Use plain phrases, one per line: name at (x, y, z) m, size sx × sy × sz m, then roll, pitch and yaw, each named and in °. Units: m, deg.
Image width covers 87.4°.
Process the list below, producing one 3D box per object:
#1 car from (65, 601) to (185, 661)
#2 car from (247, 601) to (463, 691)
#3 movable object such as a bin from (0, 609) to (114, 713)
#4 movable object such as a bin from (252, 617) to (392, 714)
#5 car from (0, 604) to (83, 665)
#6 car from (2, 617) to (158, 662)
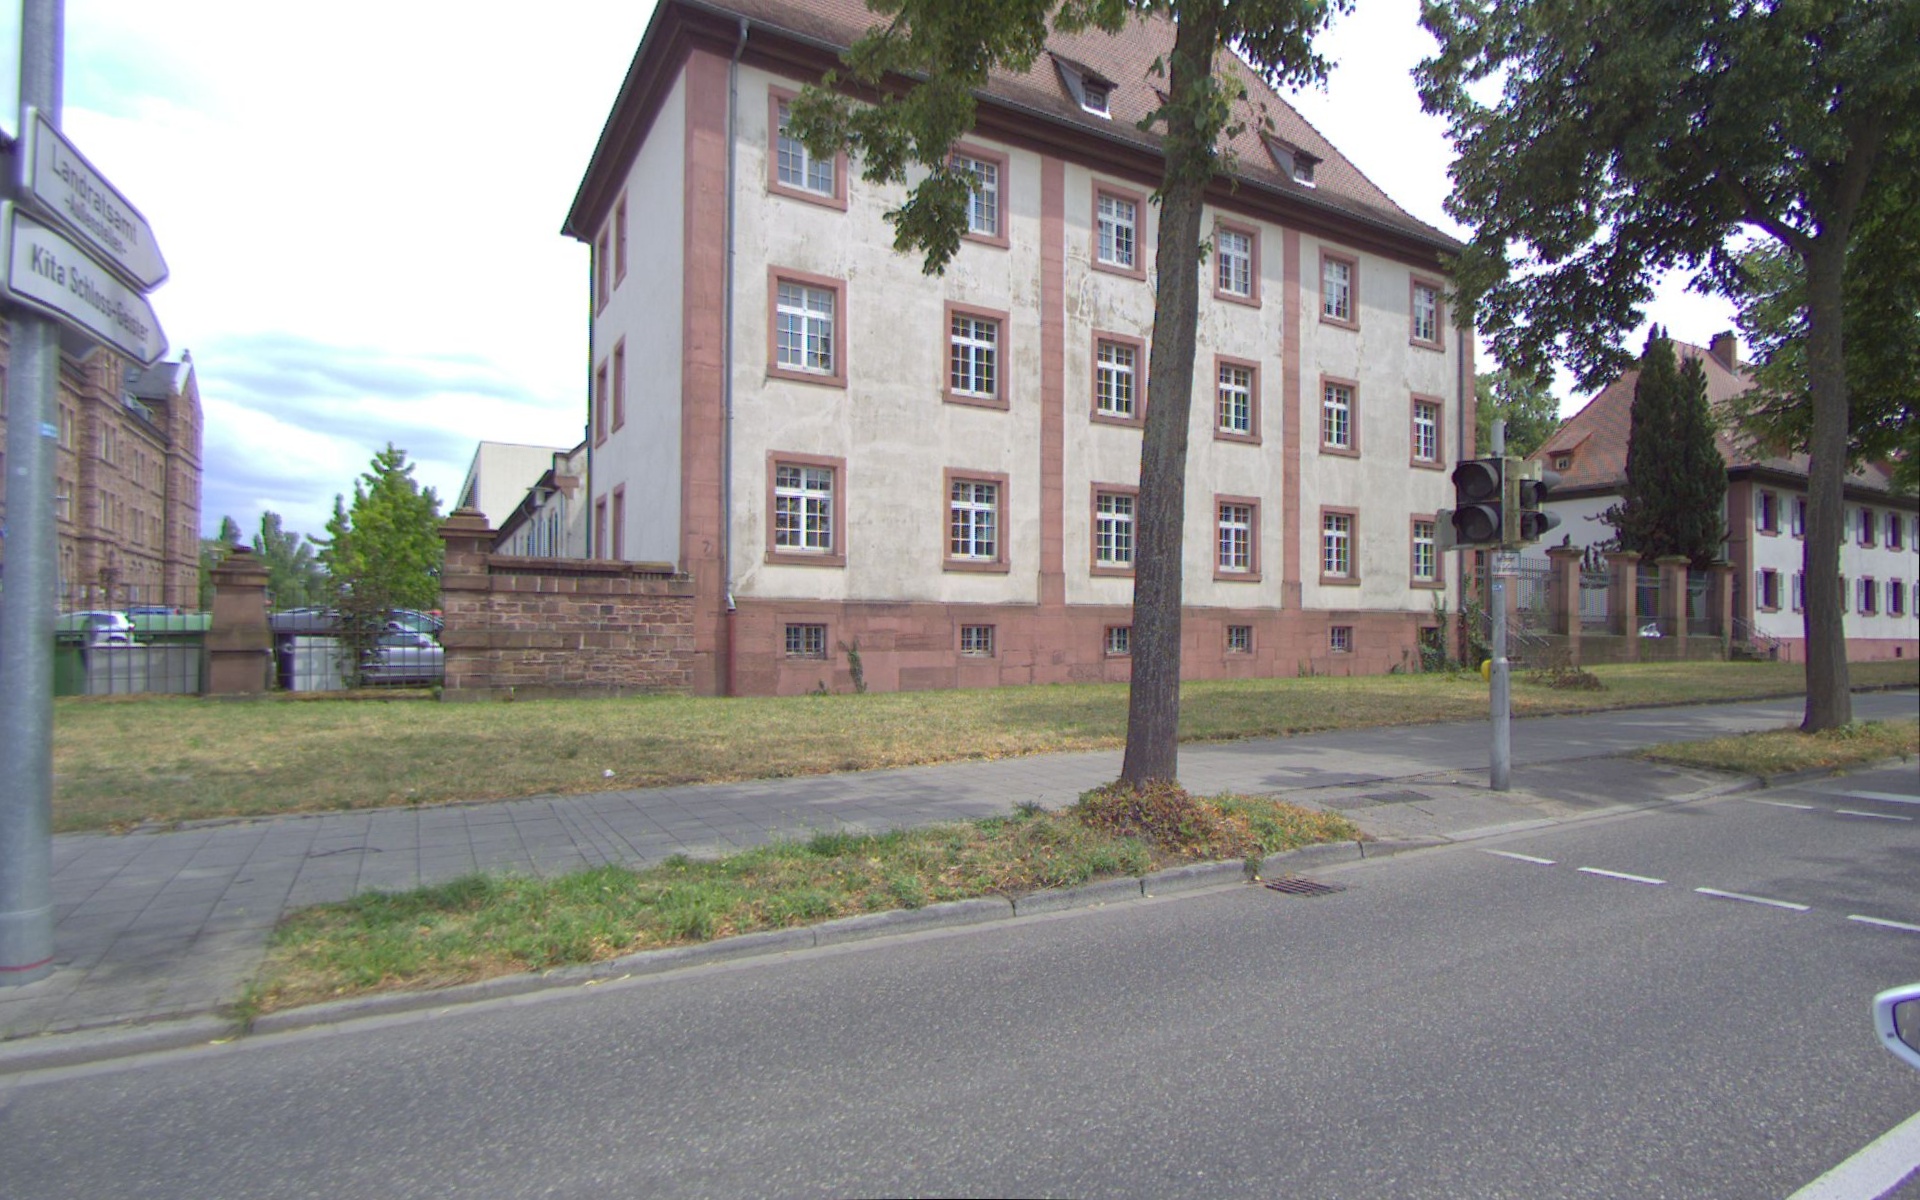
car at (-39.199, 1.430, 47.277) m, size 4.117 × 2.749 × 1.577 m, roll 0°, pitch -1°, yaw -30°
car at (-13.297, 0.963, 22.330) m, size 3.909 × 1.733 × 1.759 m, roll -2°, pitch 0°, yaw -29°
movable object such as a bin at (-13.747, 0.889, 14.932) m, size 1.552 × 1.487 × 1.196 m, roll 1°, pitch -2°, yaw -29°
movable object such as a bin at (-10.432, 1.039, 16.453) m, size 1.310 × 1.487 × 1.565 m, roll -1°, pitch -2°, yaw 36°
car at (-27.970, 0.988, 28.695) m, size 4.114 × 1.733 × 1.578 m, roll 0°, pitch -1°, yaw -28°
car at (-32.809, 1.454, 37.602) m, size 4.115 × 1.571 × 1.578 m, roll 0°, pitch -1°, yaw -28°
